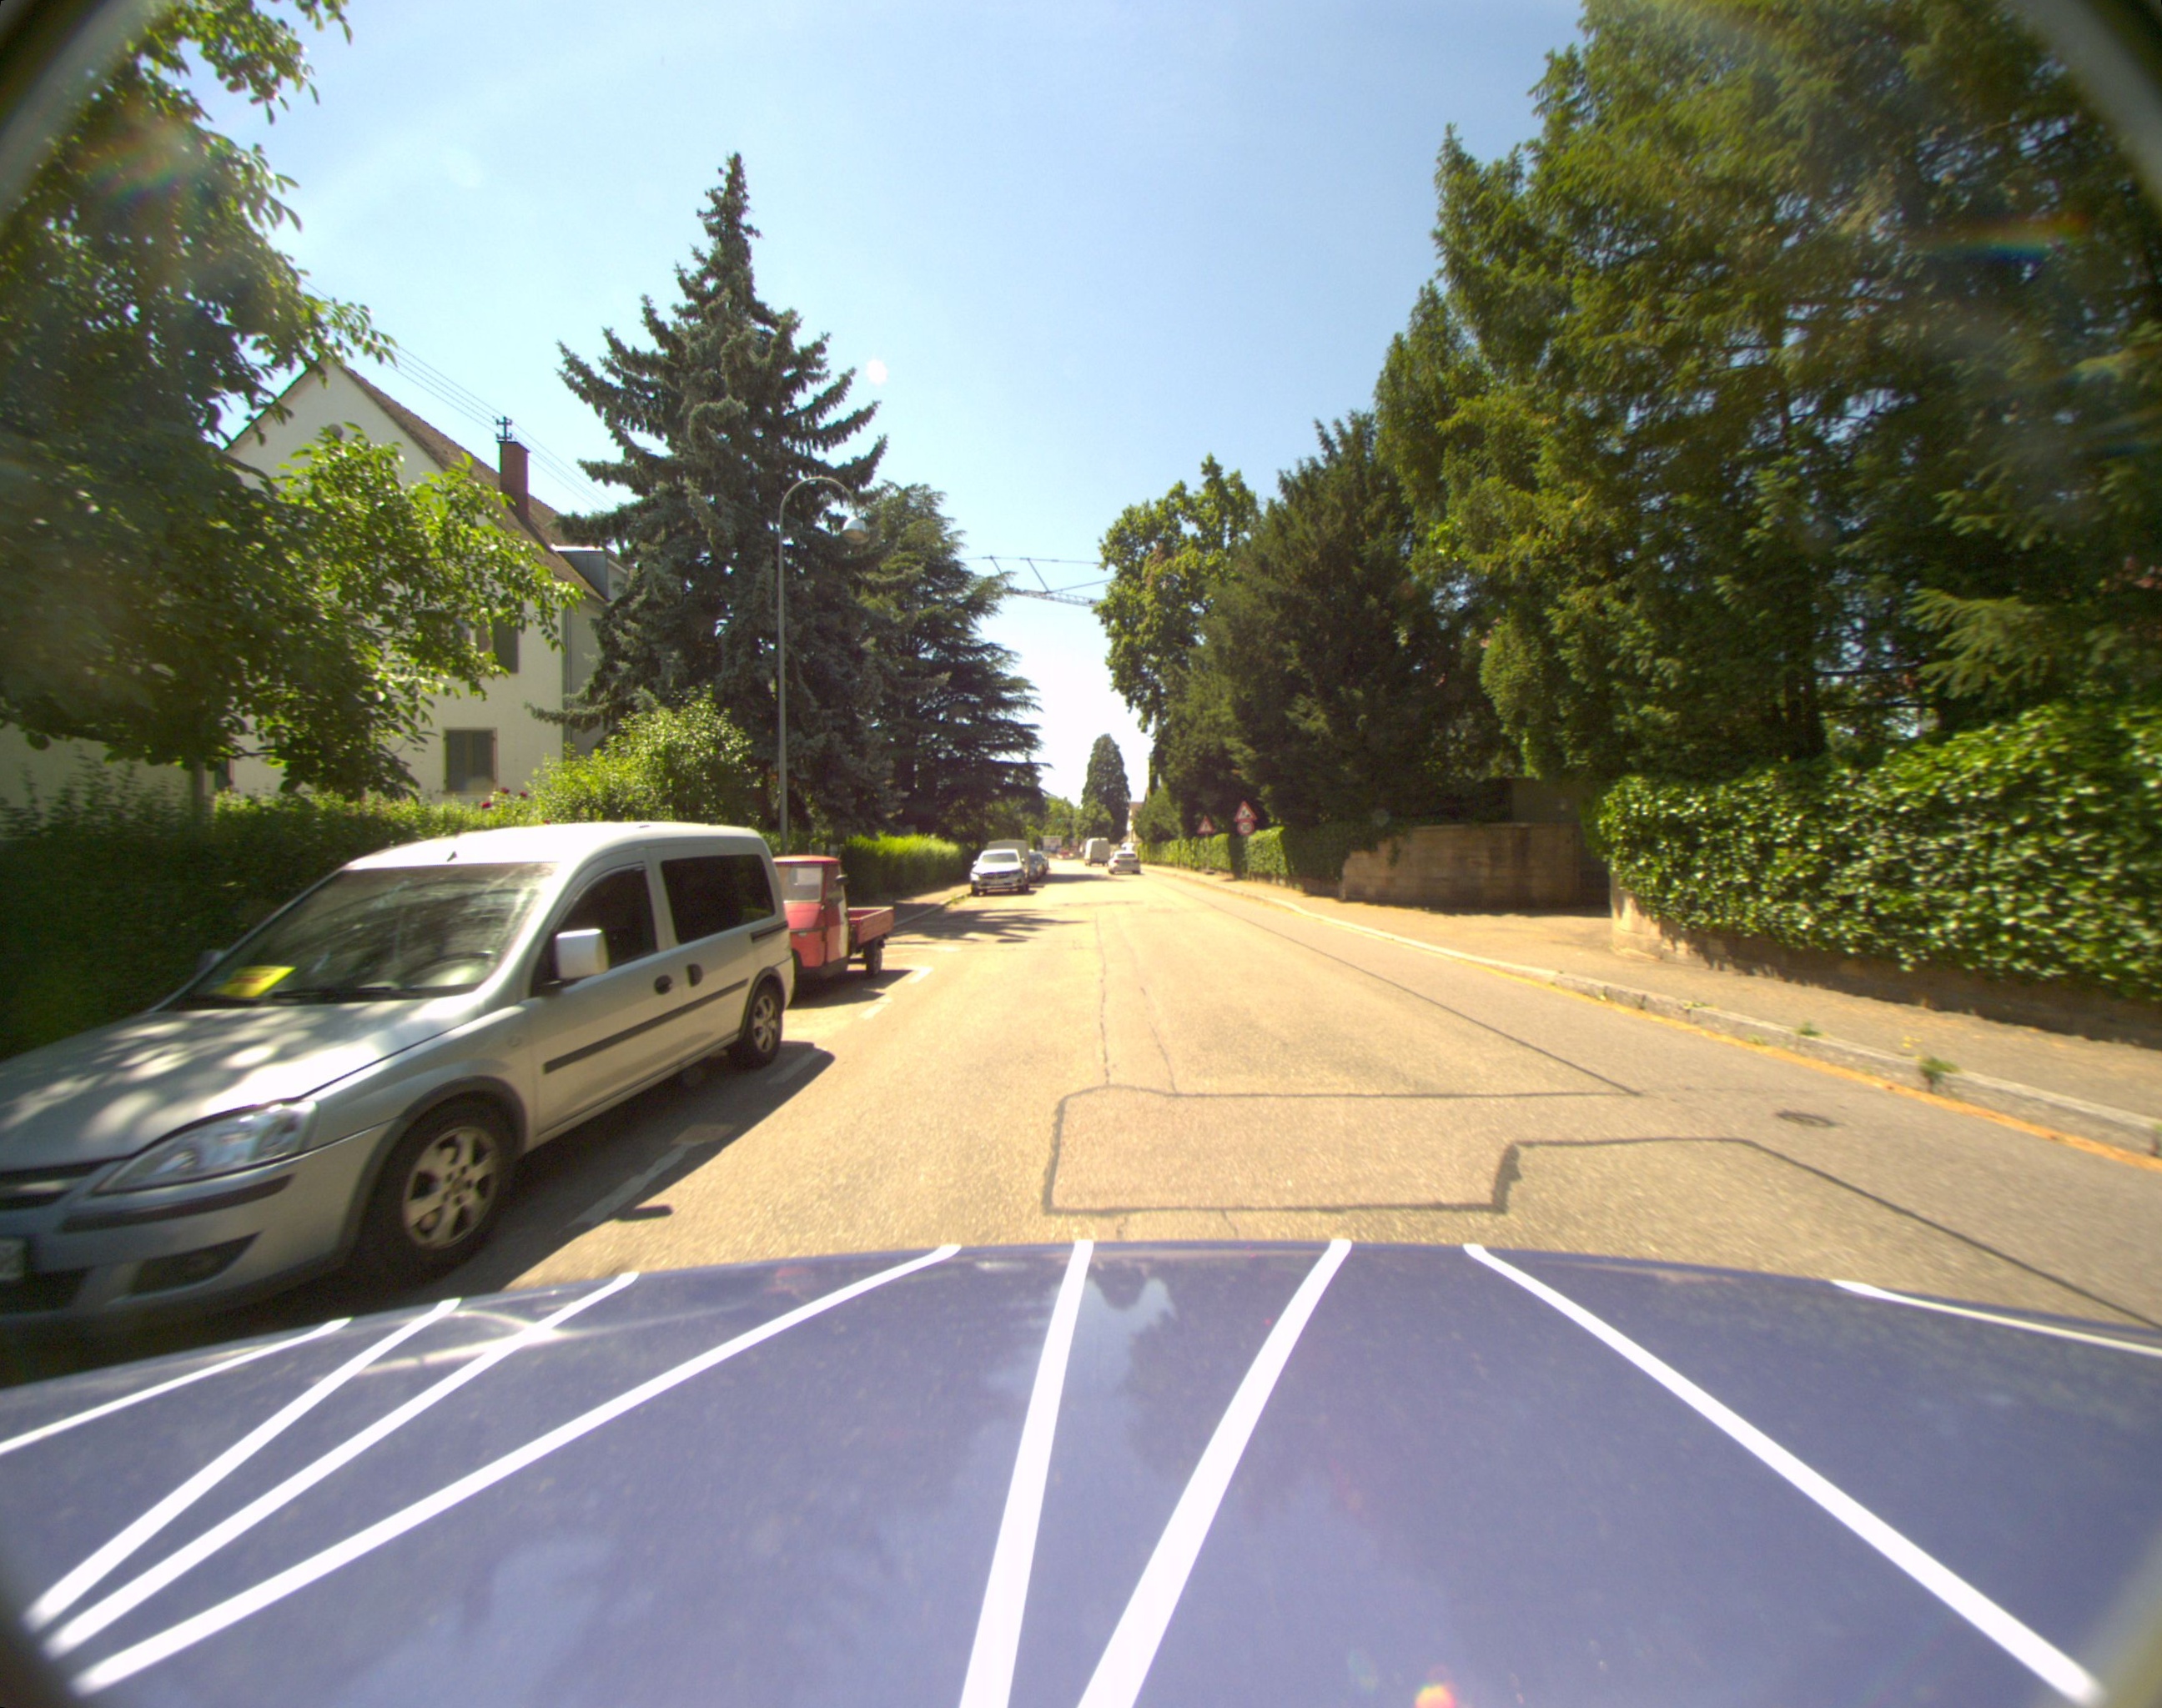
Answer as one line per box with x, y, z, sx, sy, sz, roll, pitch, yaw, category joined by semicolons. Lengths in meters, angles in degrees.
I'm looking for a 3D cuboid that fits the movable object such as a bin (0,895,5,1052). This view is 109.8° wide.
-7.327;0.800;4.709;0.563;1.040;0.560;0;1;-30;movable object such as a bin

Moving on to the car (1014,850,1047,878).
-2.885;0.557;44.104;1.619;1.461;4.063;-2;1;0;car

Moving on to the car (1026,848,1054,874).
-2.650;0.412;49.979;1.619;1.443;4.372;-4;2;-1;car

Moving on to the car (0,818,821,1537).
-3.149;0.807;4.149;1.750;1.772;4.542;-3;1;1;car

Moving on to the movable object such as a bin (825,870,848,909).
-6.439;0.920;20.006;0.405;0.986;0.449;-2;1;1;movable object such as a bin

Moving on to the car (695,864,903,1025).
-3.139;0.923;8.947;1.263;1.487;2.709;-3;1;3;car

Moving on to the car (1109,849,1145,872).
2.817;0.384;47.425;1.869;1.375;4.603;0;1;-1;car

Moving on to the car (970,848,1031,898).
-2.907;0.644;28.336;1.776;1.622;4.603;-3;0;-1;car

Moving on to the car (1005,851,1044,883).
-2.777;0.613;38.389;1.619;1.388;4.257;-3;1;0;car

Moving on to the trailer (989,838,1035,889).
-3.014;0.400;33.877;1.684;2.056;3.707;-3;1;-1;trailer

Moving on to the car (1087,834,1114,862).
1.809;-0.600;72.145;1.999;2.518;5.892;-1;1;-3;car
